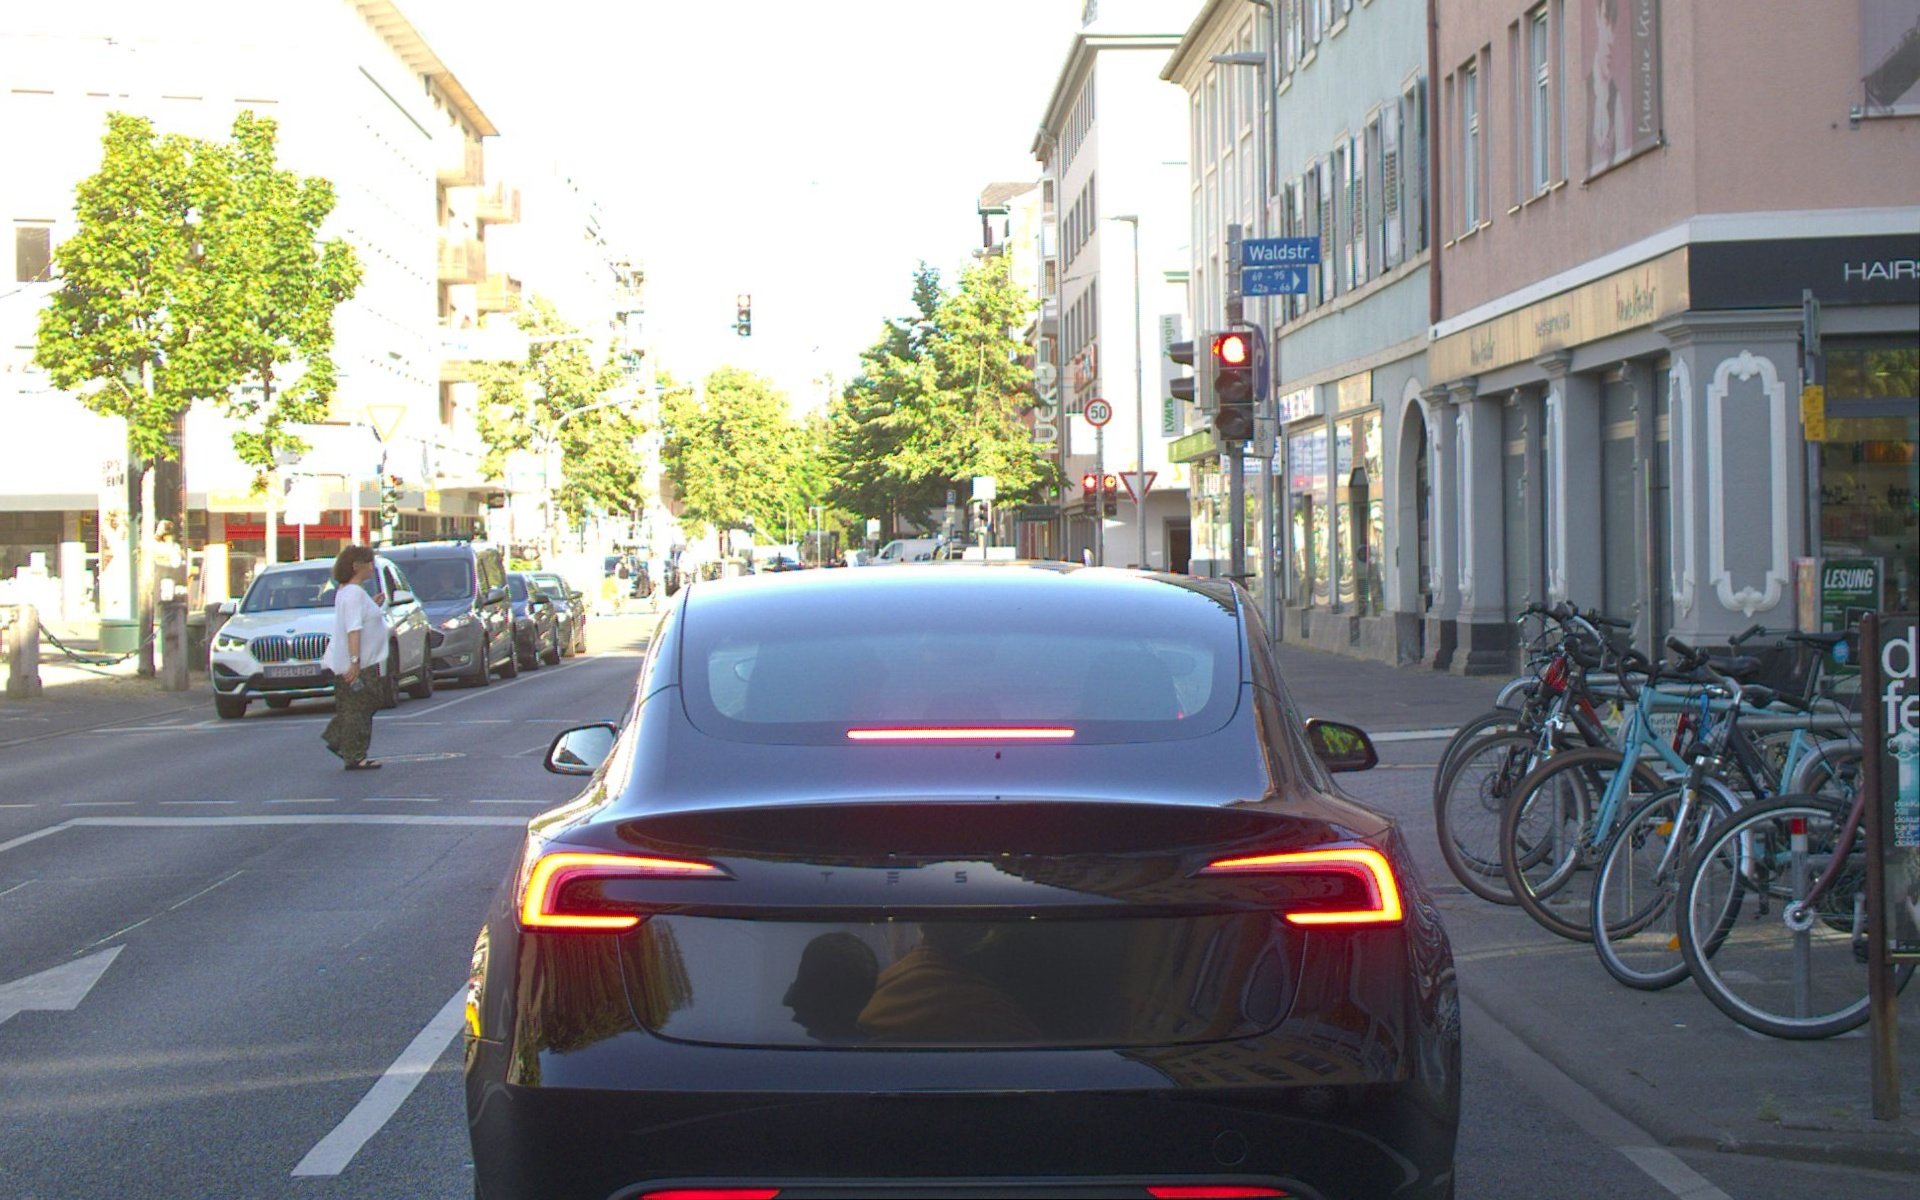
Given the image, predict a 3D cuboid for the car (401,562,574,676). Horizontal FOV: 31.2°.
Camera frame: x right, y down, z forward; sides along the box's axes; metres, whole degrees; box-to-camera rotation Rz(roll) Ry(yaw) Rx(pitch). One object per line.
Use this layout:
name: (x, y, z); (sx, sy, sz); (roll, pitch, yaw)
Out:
car: (-6.740, 0.237, 49.446); (1.993, 1.405, 4.675); (-4, 1, -3)

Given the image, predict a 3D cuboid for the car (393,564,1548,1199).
car: (-0.003, 0.652, 7.514); (1.848, 1.450, 4.000); (0, 1, -1)

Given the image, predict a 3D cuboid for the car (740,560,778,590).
car: (-10.940, -1.371, 187.088); (1.993, 1.631, 4.001); (0, 1, -3)

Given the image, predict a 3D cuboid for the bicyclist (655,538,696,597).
bicyclist: (-7.908, -0.913, 95.628); (1.126, 1.623, 0.965); (0, 1, -3)

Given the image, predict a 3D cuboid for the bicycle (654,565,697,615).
bicycle: (-7.890, -0.297, 95.544); (1.111, 1.340, 4.001); (0, 1, -3)

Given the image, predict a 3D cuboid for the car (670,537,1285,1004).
car: (-0.011, 0.516, 13.223); (1.993, 1.507, 4.176); (0, 1, -2)

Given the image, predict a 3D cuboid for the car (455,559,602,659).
car: (-7.105, 0.119, 57.037); (1.993, 1.431, 4.675); (-4, 1, -3)

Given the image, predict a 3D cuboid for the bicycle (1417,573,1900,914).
bicycle: (2.747, 0.555, 13.662); (1.746, 1.262, 0.781); (-2, 1, 3)

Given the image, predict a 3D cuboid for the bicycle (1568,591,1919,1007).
bicycle: (2.893, 0.617, 11.133); (1.722, 1.263, 0.790); (-2, 1, 5)

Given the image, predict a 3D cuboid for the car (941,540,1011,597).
car: (0.444, -0.925, 100.755); (1.993, 1.623, 4.000); (0, 1, 0)

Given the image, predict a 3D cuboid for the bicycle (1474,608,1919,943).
bicycle: (2.814, 0.620, 12.484); (1.798, 1.120, 0.781); (-2, 1, 5)

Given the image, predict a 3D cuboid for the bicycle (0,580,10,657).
bicycle: (-15.706, 0.279, 52.245); (2.323, 1.152, 0.843); (0, 1, -5)

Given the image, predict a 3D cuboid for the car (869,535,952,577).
car: (-2.418, -2.152, 167.567); (3.986, 2.007, 2.000); (0, 1, -2)

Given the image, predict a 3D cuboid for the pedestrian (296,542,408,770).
pedestrian: (-4.213, 0.374, 23.790); (0.747, 1.547, 0.699); (0, 1, -11)

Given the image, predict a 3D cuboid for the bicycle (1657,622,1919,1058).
bicycle: (3.040, 0.667, 10.001); (1.886, 1.189, 0.691); (-2, 1, 5)

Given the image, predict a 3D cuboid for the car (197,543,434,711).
car: (-6.743, 0.229, 36.389); (1.807, 1.550, 4.310); (-4, 1, -3)

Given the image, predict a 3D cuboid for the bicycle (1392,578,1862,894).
bicycle: (2.817, 0.566, 14.693); (1.862, 1.253, 0.832); (-2, 1, 5)

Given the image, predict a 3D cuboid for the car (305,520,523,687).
car: (-6.699, -0.007, 42.618); (1.834, 1.838, 4.674); (-4, 1, 0)
